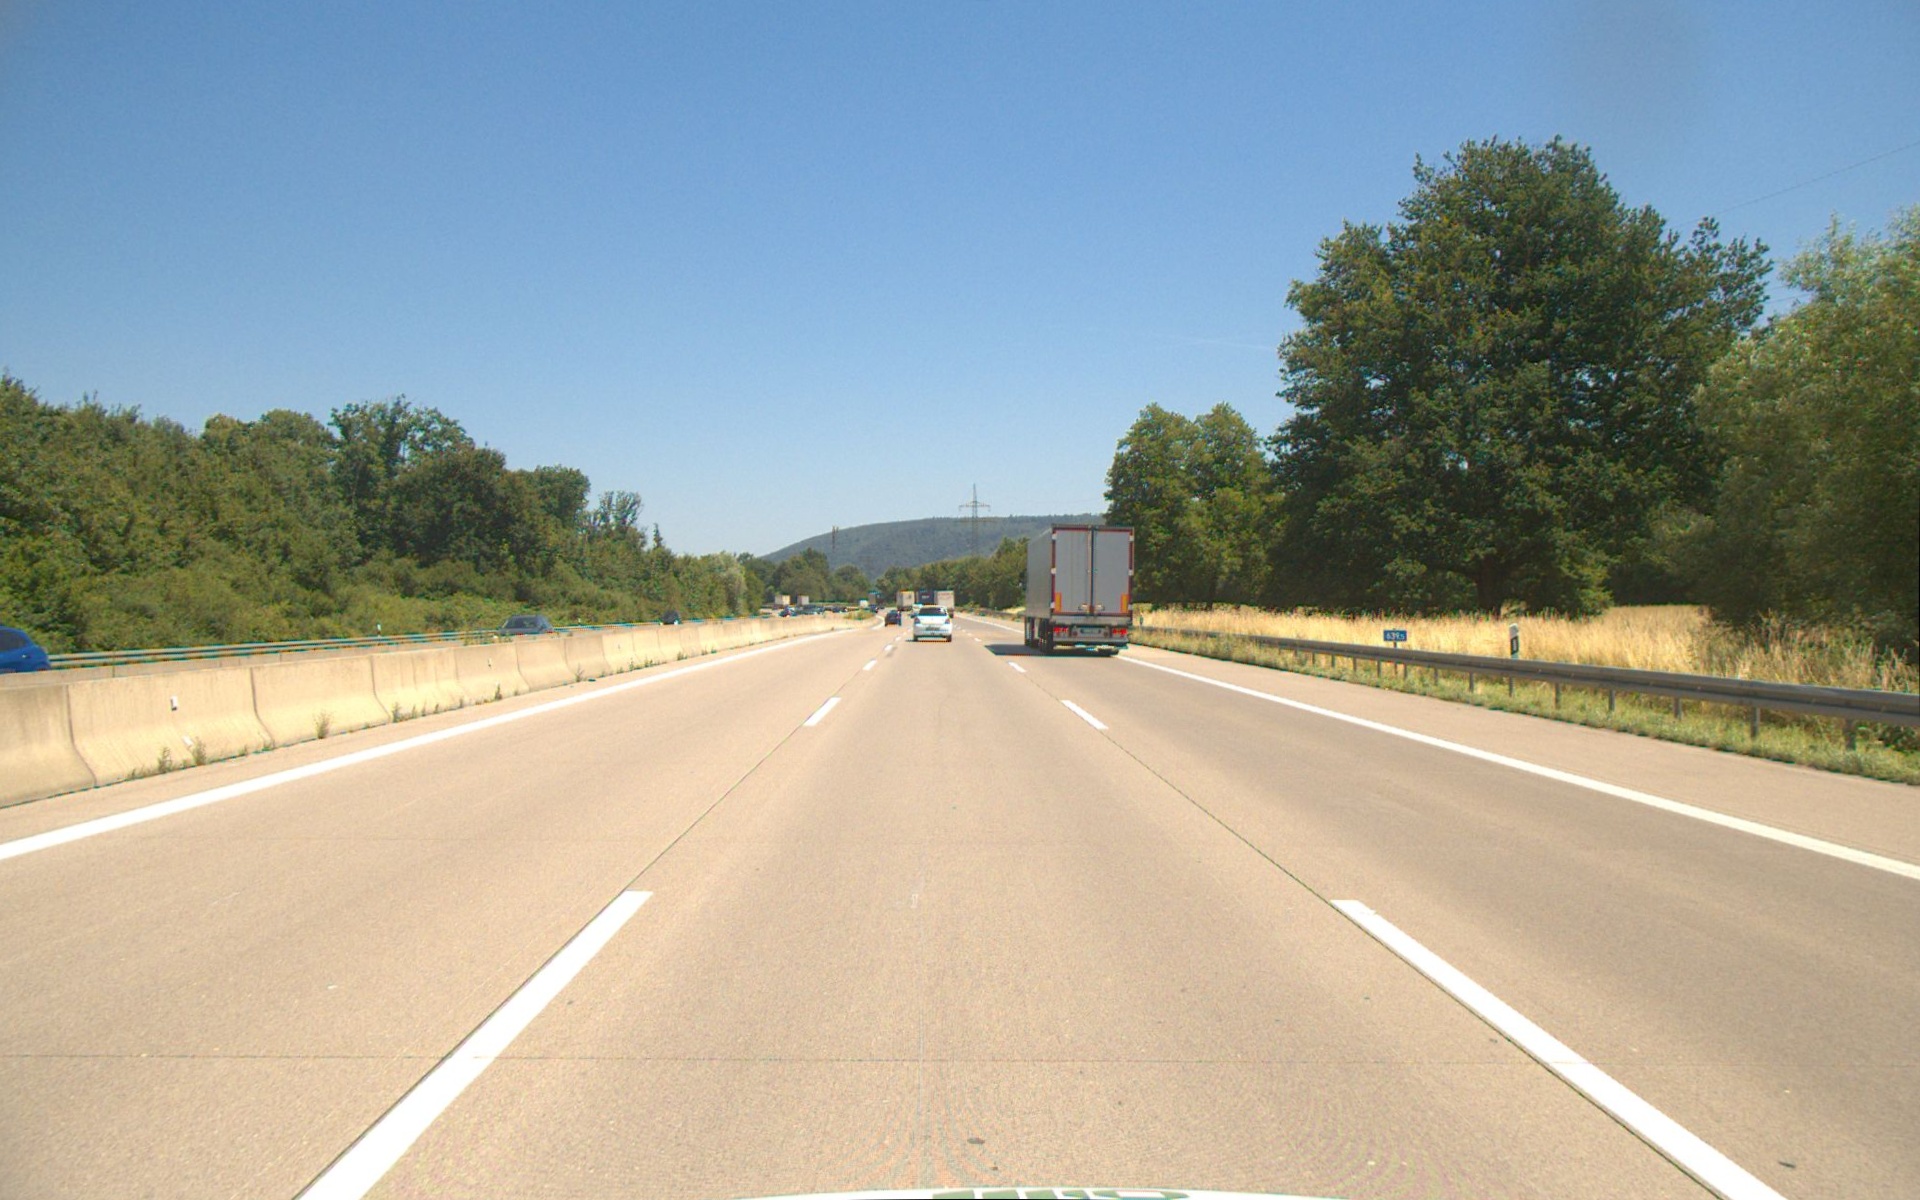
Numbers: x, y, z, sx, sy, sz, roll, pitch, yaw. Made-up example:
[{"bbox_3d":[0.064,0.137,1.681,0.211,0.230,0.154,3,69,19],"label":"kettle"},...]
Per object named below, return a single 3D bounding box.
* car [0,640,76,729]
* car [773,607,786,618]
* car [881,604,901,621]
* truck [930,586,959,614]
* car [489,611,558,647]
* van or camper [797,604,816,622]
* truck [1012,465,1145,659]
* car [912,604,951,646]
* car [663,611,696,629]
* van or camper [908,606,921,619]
[{"bbox_3d":[-16.755,1.428,27.672,1.675,1.409,4.506,0,0,-2],"label":"car"},{"bbox_3d":[-27.752,1.920,254.577,1.669,1.687,4.088,-1,-1,-3],"label":"car"},{"bbox_3d":[-7.396,1.305,177.750,1.982,1.730,3.997,2,0,-4],"label":"car"},{"bbox_3d":[-2.506,0.008,260.036,3.745,3.957,14.144,-4,0,-3],"label":"truck"},{"bbox_3d":[-17.310,1.137,65.802,1.643,1.338,4.858,0,0,-2],"label":"car"},{"bbox_3d":[-16.595,1.416,178.781,1.810,1.915,4.415,0,0,-2],"label":"van or camper"},{"bbox_3d":[3.881,-1.197,59.291,3.504,5.888,18.247,0,0,0],"label":"truck"},{"bbox_3d":[-1.224,1.050,71.288,1.608,1.691,3.359,1,0,-1],"label":"car"},{"bbox_3d":[-22.103,1.578,130.332,1.888,1.400,3.999,-1,0,0],"label":"car"},{"bbox_3d":[-7.108,1.979,257.793,1.831,1.869,3.997,-4,0,-4],"label":"van or camper"}]
